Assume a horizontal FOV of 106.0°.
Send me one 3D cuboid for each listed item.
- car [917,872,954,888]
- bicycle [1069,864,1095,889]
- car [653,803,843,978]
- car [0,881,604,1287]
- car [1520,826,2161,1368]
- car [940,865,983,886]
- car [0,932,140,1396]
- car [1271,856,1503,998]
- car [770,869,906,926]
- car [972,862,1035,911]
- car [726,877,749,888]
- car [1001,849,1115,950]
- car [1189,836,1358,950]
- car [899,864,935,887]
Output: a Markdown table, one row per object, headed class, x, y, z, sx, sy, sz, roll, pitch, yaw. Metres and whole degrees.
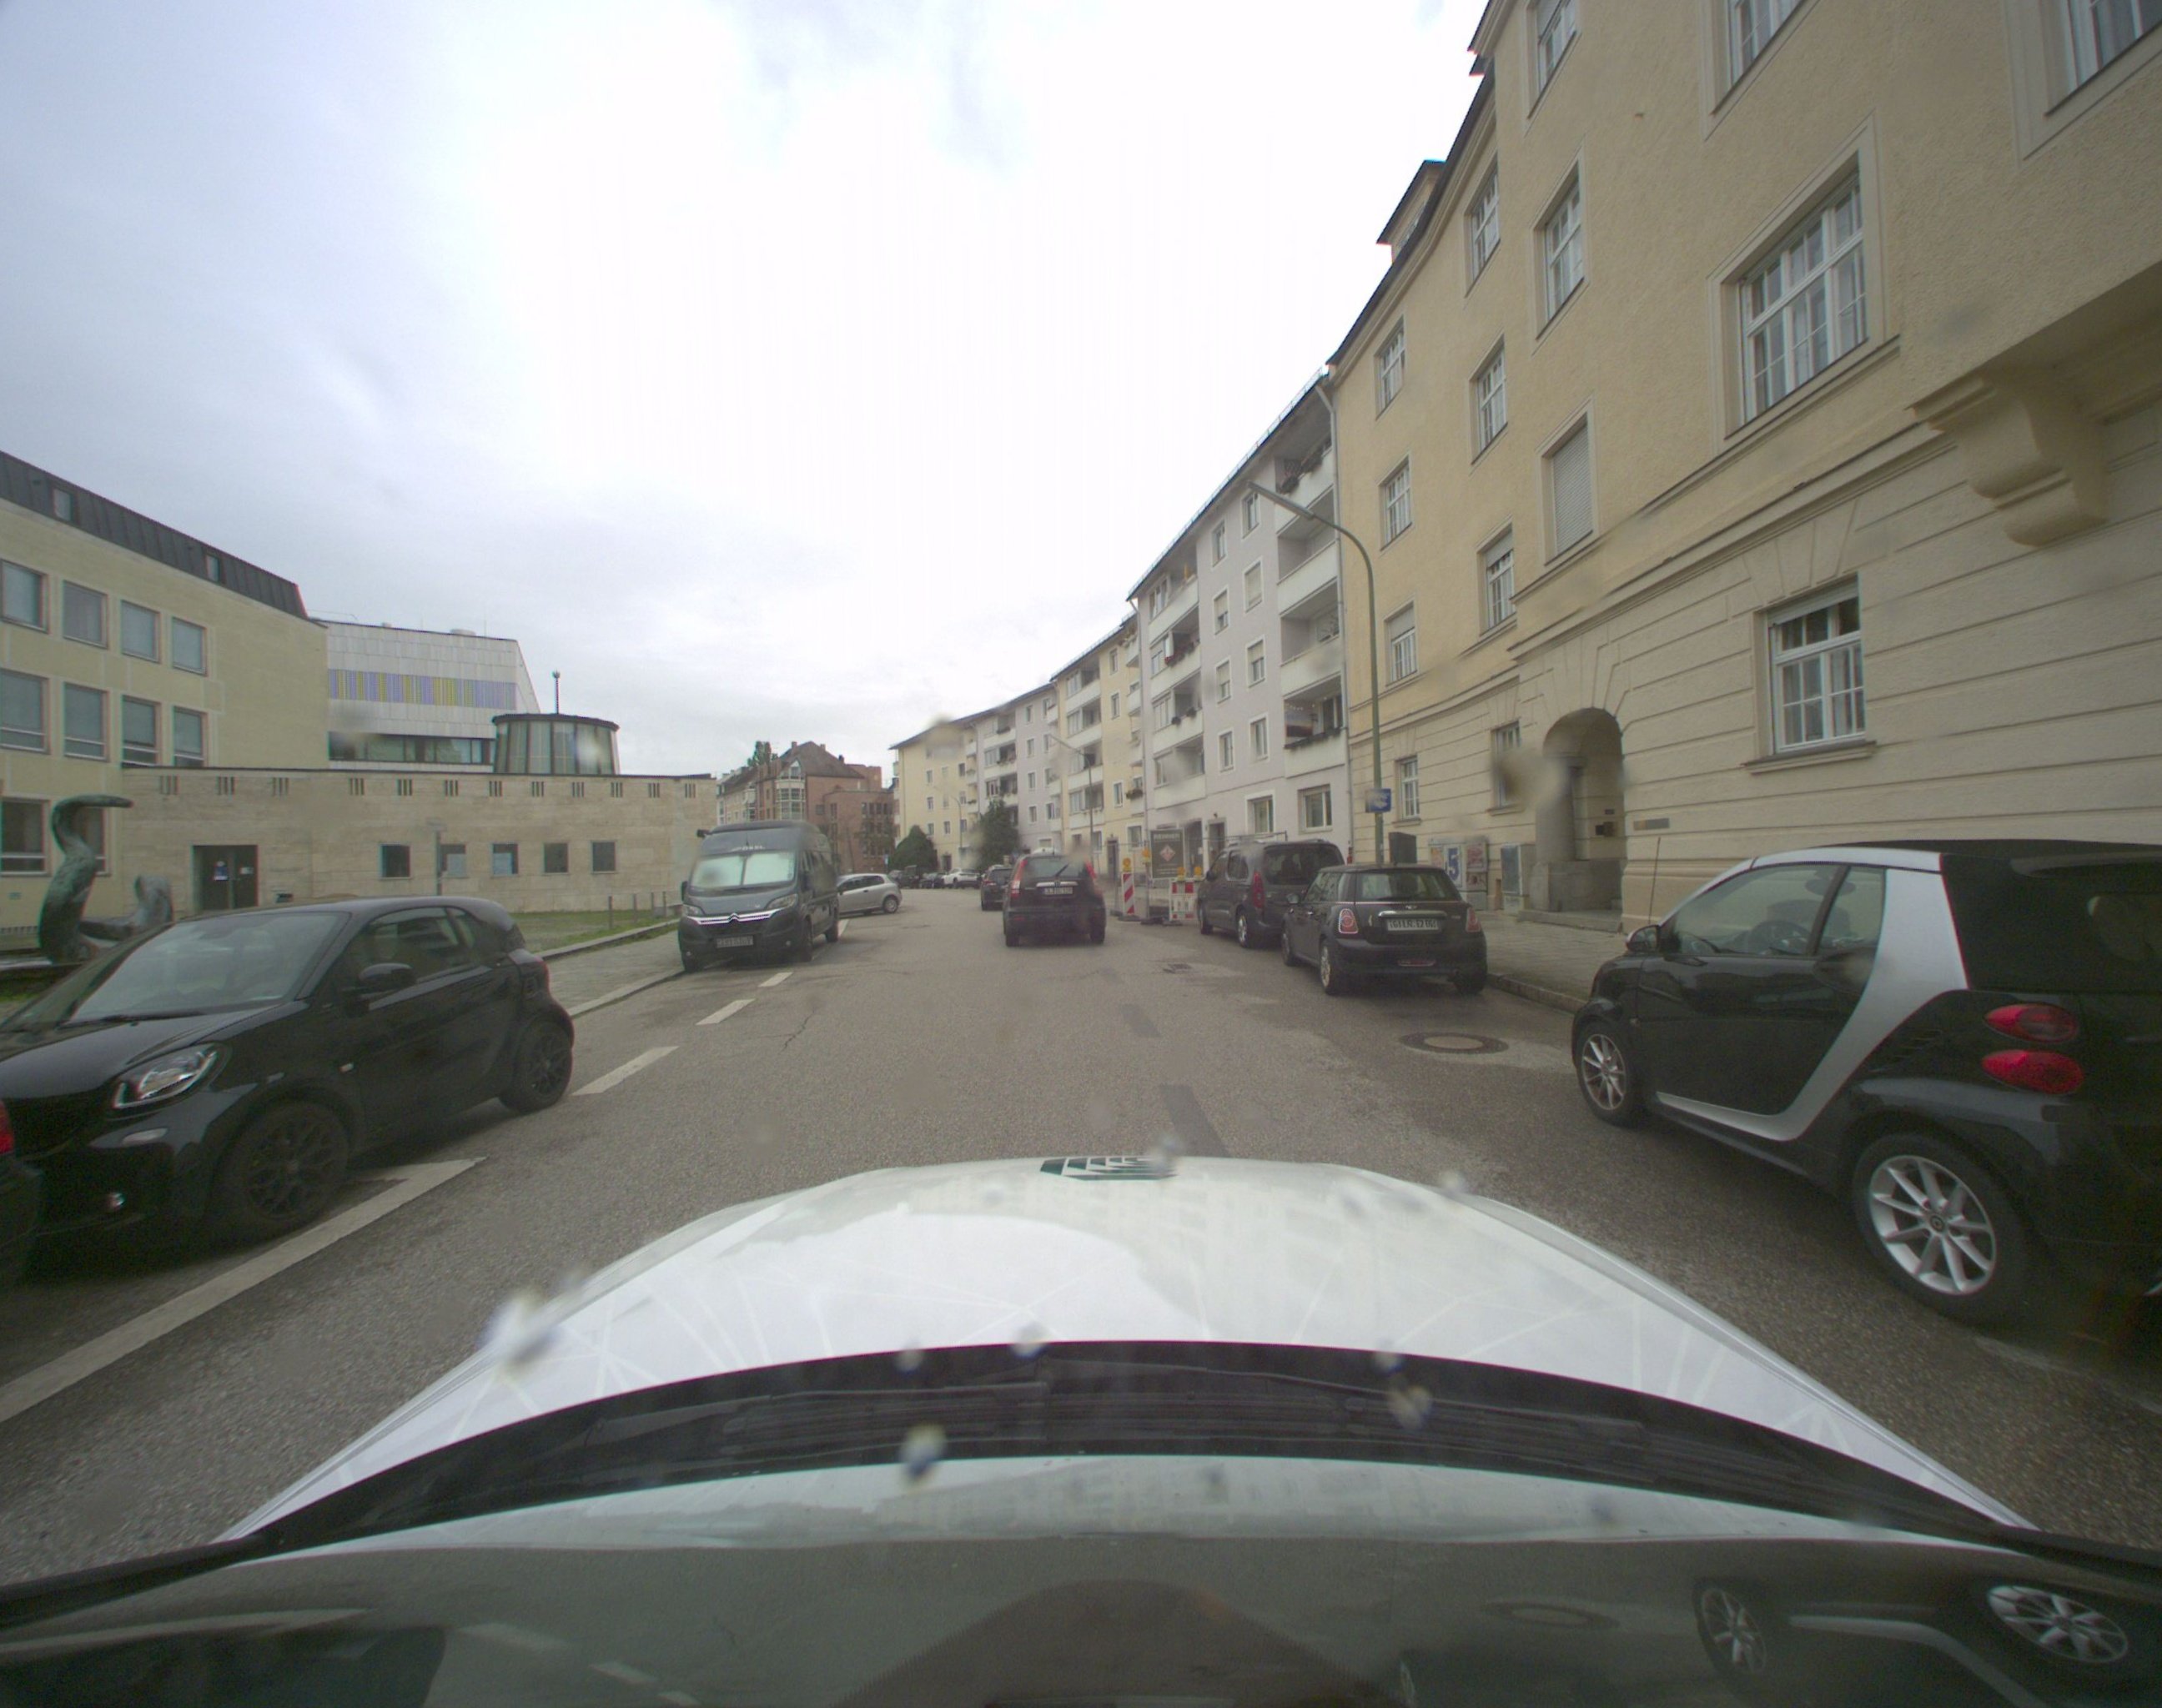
| class | x | y | z | sx | sy | sz | roll | pitch | yaw |
| --- | --- | --- | --- | --- | --- | --- | --- | --- | --- |
| car | -11.679 | 2.059 | 65.311 | 1.709 | 1.236 | 3.566 | -1 | -1 | -31 |
| bicycle | 0.046 | 1.283 | 47.109 | 0.969 | 1.388 | 2.552 | -1 | -1 | -13 |
| car | -6.098 | 0.589 | 15.825 | 2.165 | 2.641 | 5.994 | -3 | 0 | -11 |
| car | -4.469 | 0.995 | 4.735 | 1.666 | 1.502 | 2.974 | -4 | -1 | -3 |
| car | 3.585 | 0.695 | 3.828 | 1.528 | 1.524 | 3.114 | 0 | -1 | 4 |
| car | -8.982 | 1.626 | 61.016 | 1.735 | 1.483 | 3.960 | -1 | -1 | -31 |
| car | -4.194 | 1.013 | 0.639 | 1.795 | 1.406 | 4.450 | -4 | -1 | -3 |
| car | 3.573 | 0.766 | 10.250 | 1.700 | 1.447 | 3.833 | 0 | -1 | 4 |
| car | -8.322 | 1.466 | 28.162 | 1.663 | 1.481 | 4.112 | -7 | -2 | 42 |
| car | -2.738 | 1.058 | 27.879 | 1.680 | 1.481 | 4.069 | -2 | -1 | -12 |
| car | -48.652 | 4.040 | 115.386 | 1.823 | 1.472 | 4.069 | -1 | -1 | -40 |
| car | -0.579 | 0.799 | 15.770 | 1.888 | 1.647 | 3.982 | -2 | -1 | -6 |
| car | 3.379 | 0.642 | 15.180 | 1.775 | 1.807 | 4.267 | 0 | -1 | -6 |
| car | -13.993 | 1.784 | 69.212 | 1.735 | 1.878 | 3.960 | -1 | -1 | -31 |
